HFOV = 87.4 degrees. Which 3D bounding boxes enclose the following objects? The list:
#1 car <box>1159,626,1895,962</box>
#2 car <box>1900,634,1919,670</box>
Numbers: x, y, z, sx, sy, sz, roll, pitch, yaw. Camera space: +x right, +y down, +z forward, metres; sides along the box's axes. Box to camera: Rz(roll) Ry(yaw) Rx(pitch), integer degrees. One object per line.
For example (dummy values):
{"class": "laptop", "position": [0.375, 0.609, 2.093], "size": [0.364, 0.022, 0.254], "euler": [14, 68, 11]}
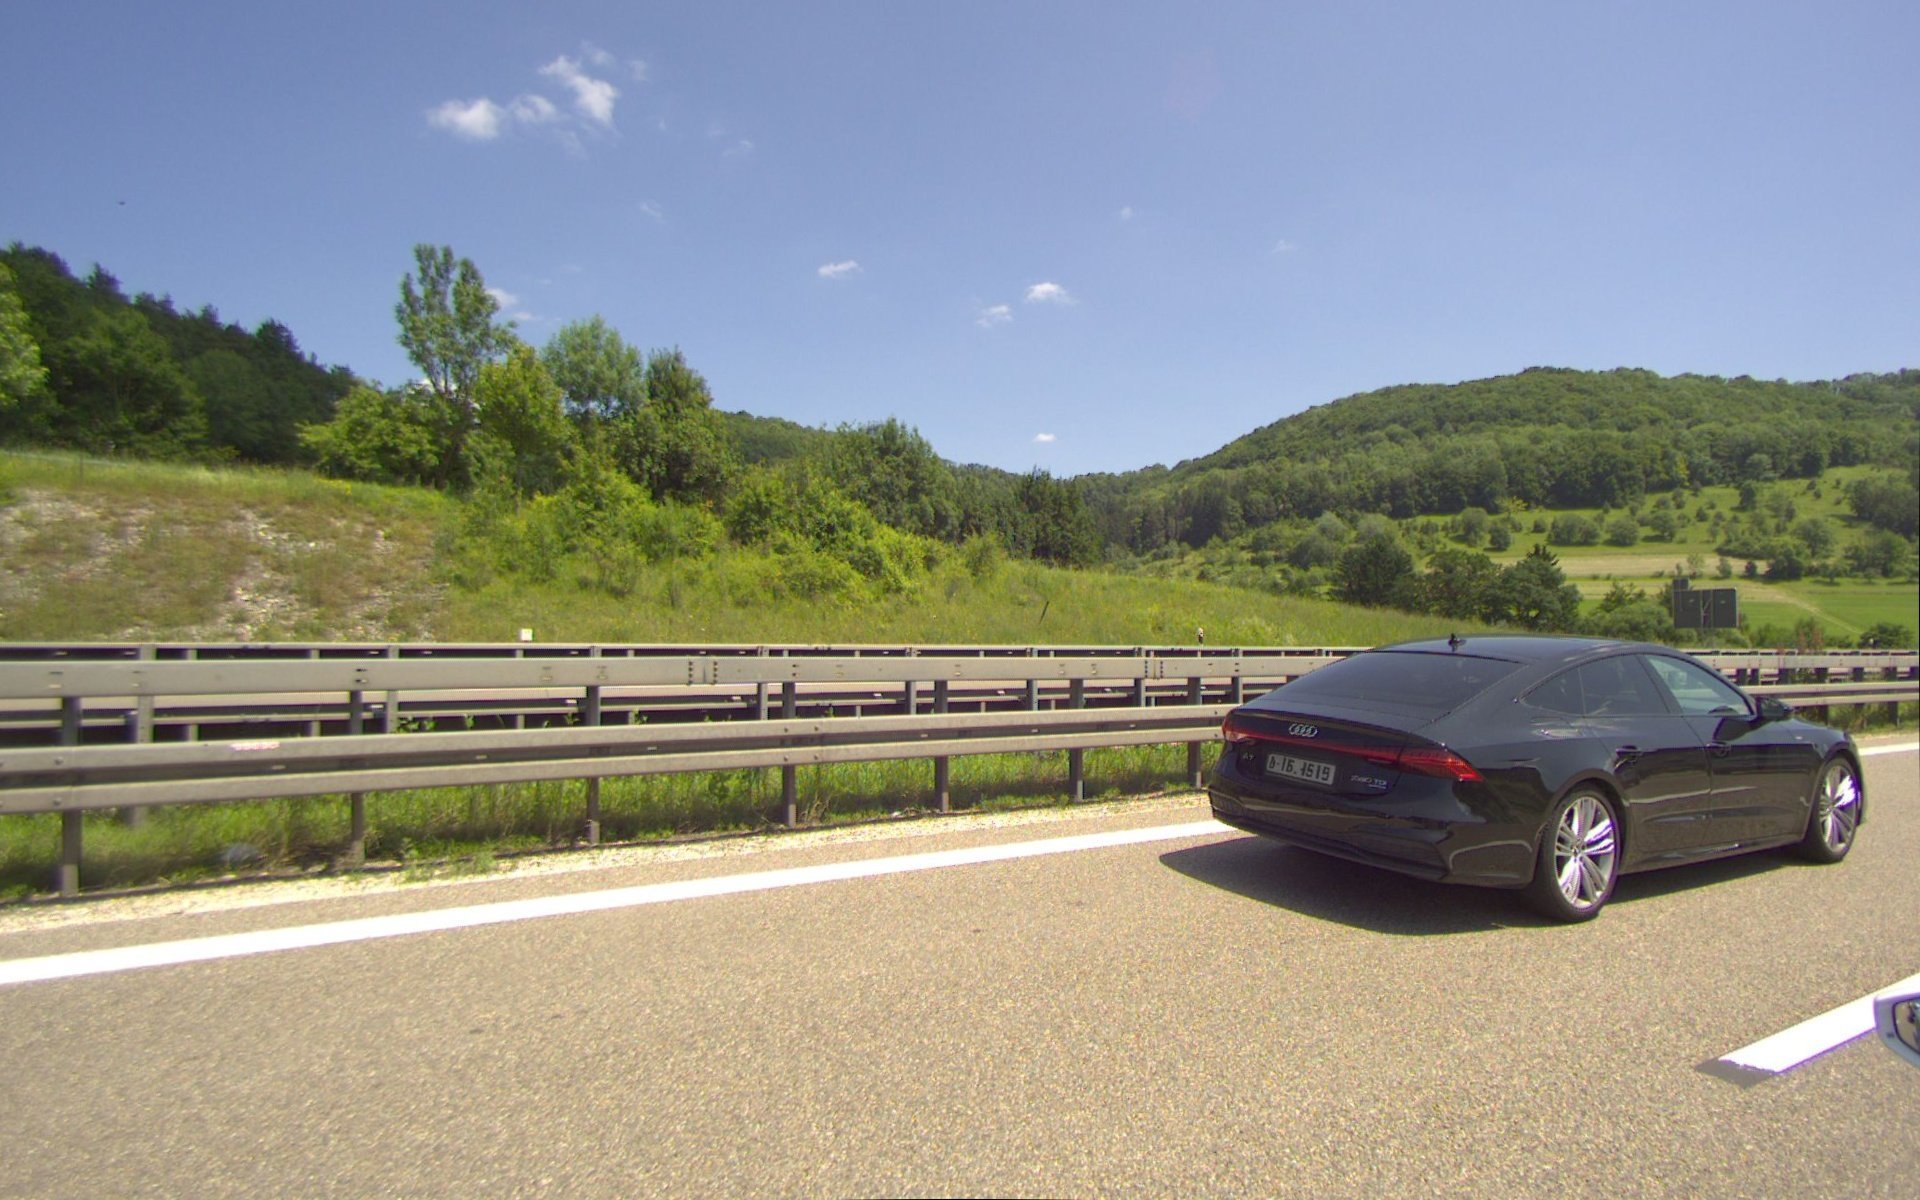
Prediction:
{"class": "car", "position": [3.730, 0.913, 6.313], "size": [4.910, 1.409, 1.792], "euler": [2, -1, -30]}
{"class": "car", "position": [39.088, 2.067, 39.791], "size": [3.697, 1.386, 1.683], "euler": [2, -1, -30]}
